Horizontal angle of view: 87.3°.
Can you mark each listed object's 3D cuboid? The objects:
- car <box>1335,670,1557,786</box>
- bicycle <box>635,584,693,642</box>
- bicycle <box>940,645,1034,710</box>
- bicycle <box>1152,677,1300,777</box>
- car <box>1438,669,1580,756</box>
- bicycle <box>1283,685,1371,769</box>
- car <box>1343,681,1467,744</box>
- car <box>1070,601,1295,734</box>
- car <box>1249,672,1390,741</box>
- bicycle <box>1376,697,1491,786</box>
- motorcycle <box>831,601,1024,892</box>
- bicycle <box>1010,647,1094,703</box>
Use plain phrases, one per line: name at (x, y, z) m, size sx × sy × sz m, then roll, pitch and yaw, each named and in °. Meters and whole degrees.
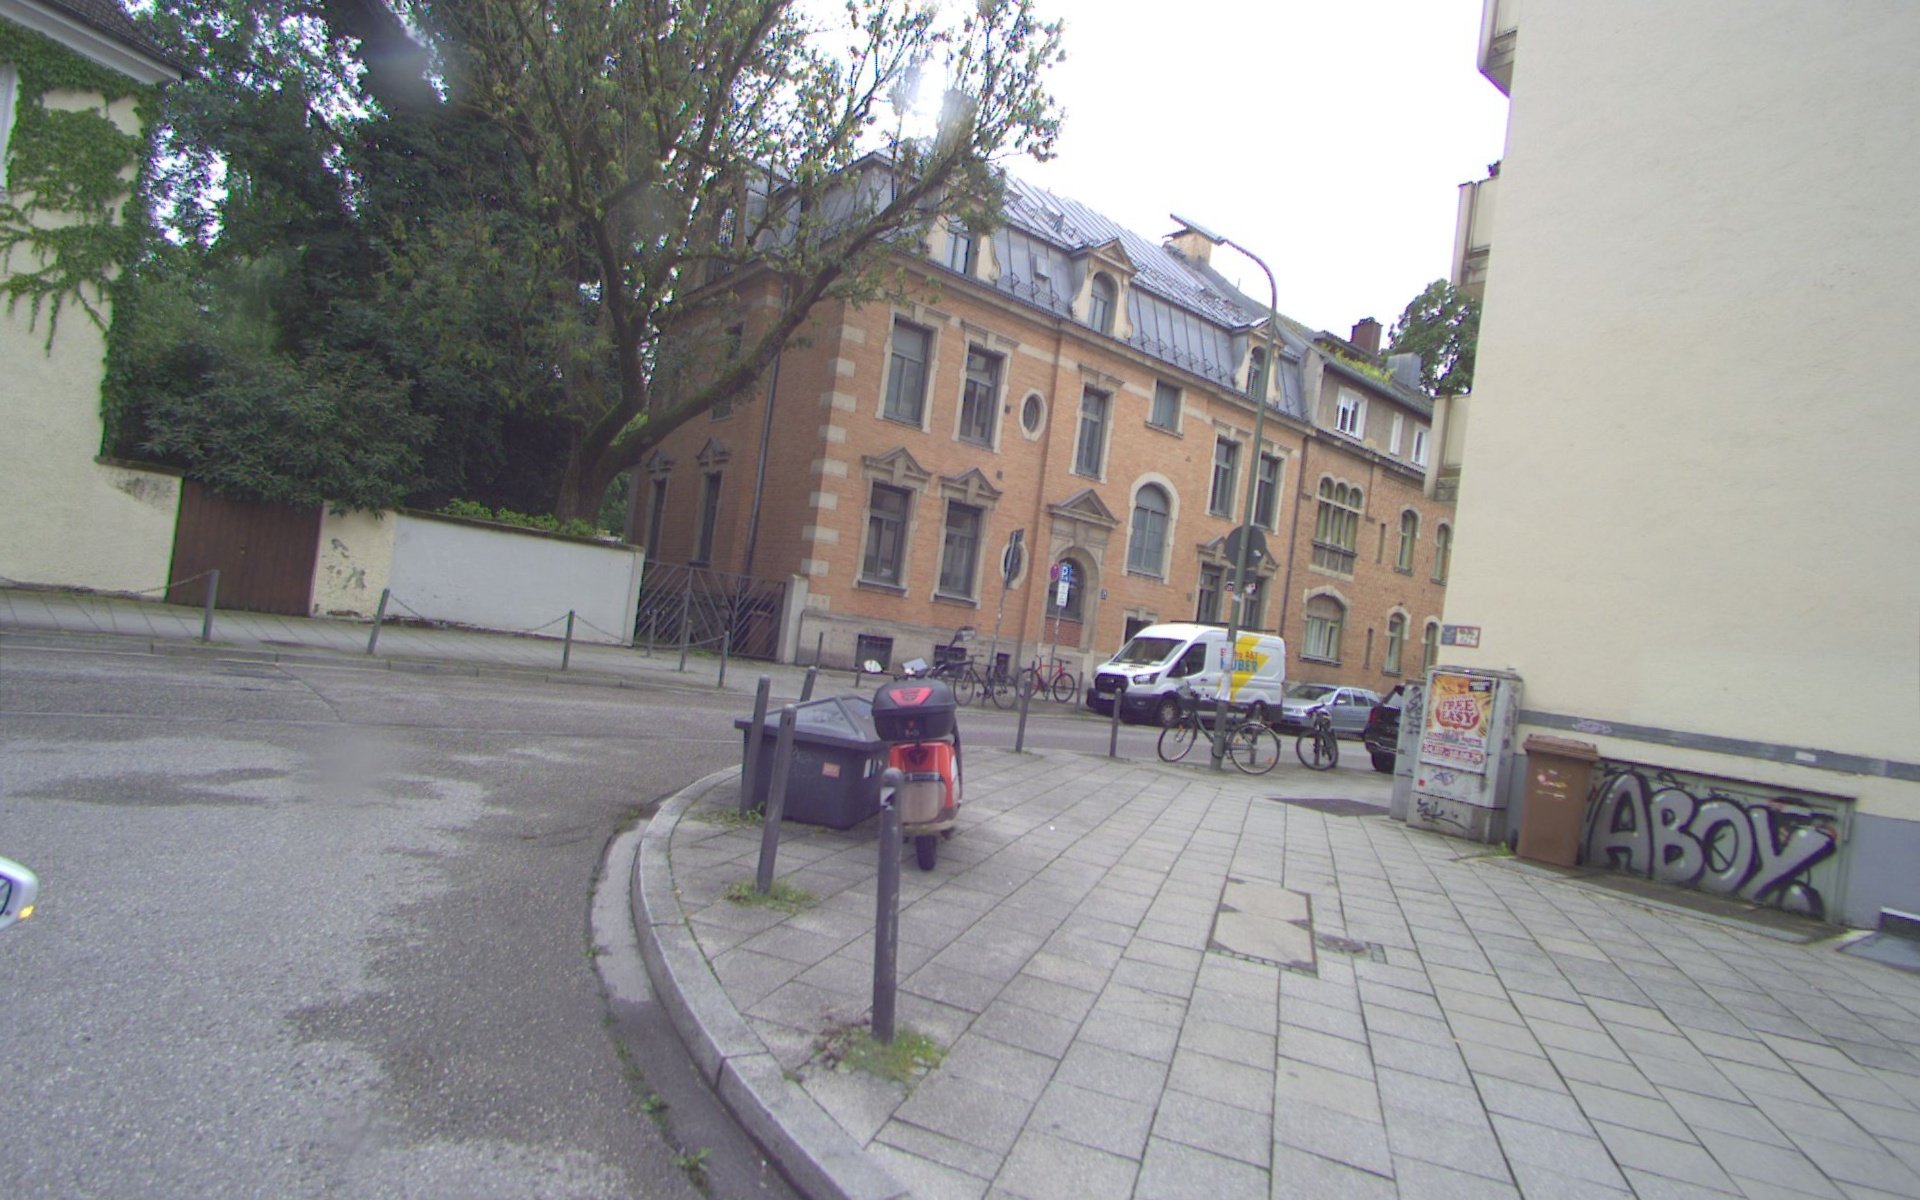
car at (9.134, 2.422, 18.752) m, size 4.516 × 1.657 × 1.837 m, roll 10°, pitch -3°, yaw -38°
bicycle at (-7.280, 0.305, 24.705) m, size 0.532 × 1.233 × 2.062 m, roll 8°, pitch -2°, yaw -37°
bicycle at (0.548, 1.530, 19.869) m, size 1.747 × 1.066 × 0.576 m, roll 9°, pitch -2°, yaw -34°
bicycle at (3.662, 1.725, 13.874) m, size 1.733 × 1.078 × 0.775 m, roll 7°, pitch -2°, yaw 31°
car at (18.913, 3.904, 34.555) m, size 5.328 × 2.376 × 2.122 m, roll 9°, pitch -2°, yaw -37°
bicycle at (5.791, 2.013, 15.821) m, size 0.573 × 1.167 × 1.956 m, roll 6°, pitch -2°, yaw 40°
car at (13.469, 3.401, 30.365) m, size 3.799 × 1.447 × 1.687 m, roll 9°, pitch -3°, yaw -37°
car at (5.355, 1.649, 23.720) m, size 5.429 × 2.495 × 1.979 m, roll 9°, pitch -4°, yaw -38°
car at (9.842, 2.927, 27.423) m, size 3.965 × 1.470 × 1.678 m, roll 9°, pitch -4°, yaw -38°
bicycle at (7.265, 2.175, 15.391) m, size 1.945 × 1.167 × 0.576 m, roll 9°, pitch -2°, yaw -34°
motorcycle at (-0.237, 0.766, 6.106) m, size 0.803 × 1.371 × 2.084 m, roll 8°, pitch -2°, yaw -4°
bicycle at (2.138, 1.751, 23.314) m, size 1.877 × 1.066 × 0.576 m, roll 9°, pitch -1°, yaw -34°
